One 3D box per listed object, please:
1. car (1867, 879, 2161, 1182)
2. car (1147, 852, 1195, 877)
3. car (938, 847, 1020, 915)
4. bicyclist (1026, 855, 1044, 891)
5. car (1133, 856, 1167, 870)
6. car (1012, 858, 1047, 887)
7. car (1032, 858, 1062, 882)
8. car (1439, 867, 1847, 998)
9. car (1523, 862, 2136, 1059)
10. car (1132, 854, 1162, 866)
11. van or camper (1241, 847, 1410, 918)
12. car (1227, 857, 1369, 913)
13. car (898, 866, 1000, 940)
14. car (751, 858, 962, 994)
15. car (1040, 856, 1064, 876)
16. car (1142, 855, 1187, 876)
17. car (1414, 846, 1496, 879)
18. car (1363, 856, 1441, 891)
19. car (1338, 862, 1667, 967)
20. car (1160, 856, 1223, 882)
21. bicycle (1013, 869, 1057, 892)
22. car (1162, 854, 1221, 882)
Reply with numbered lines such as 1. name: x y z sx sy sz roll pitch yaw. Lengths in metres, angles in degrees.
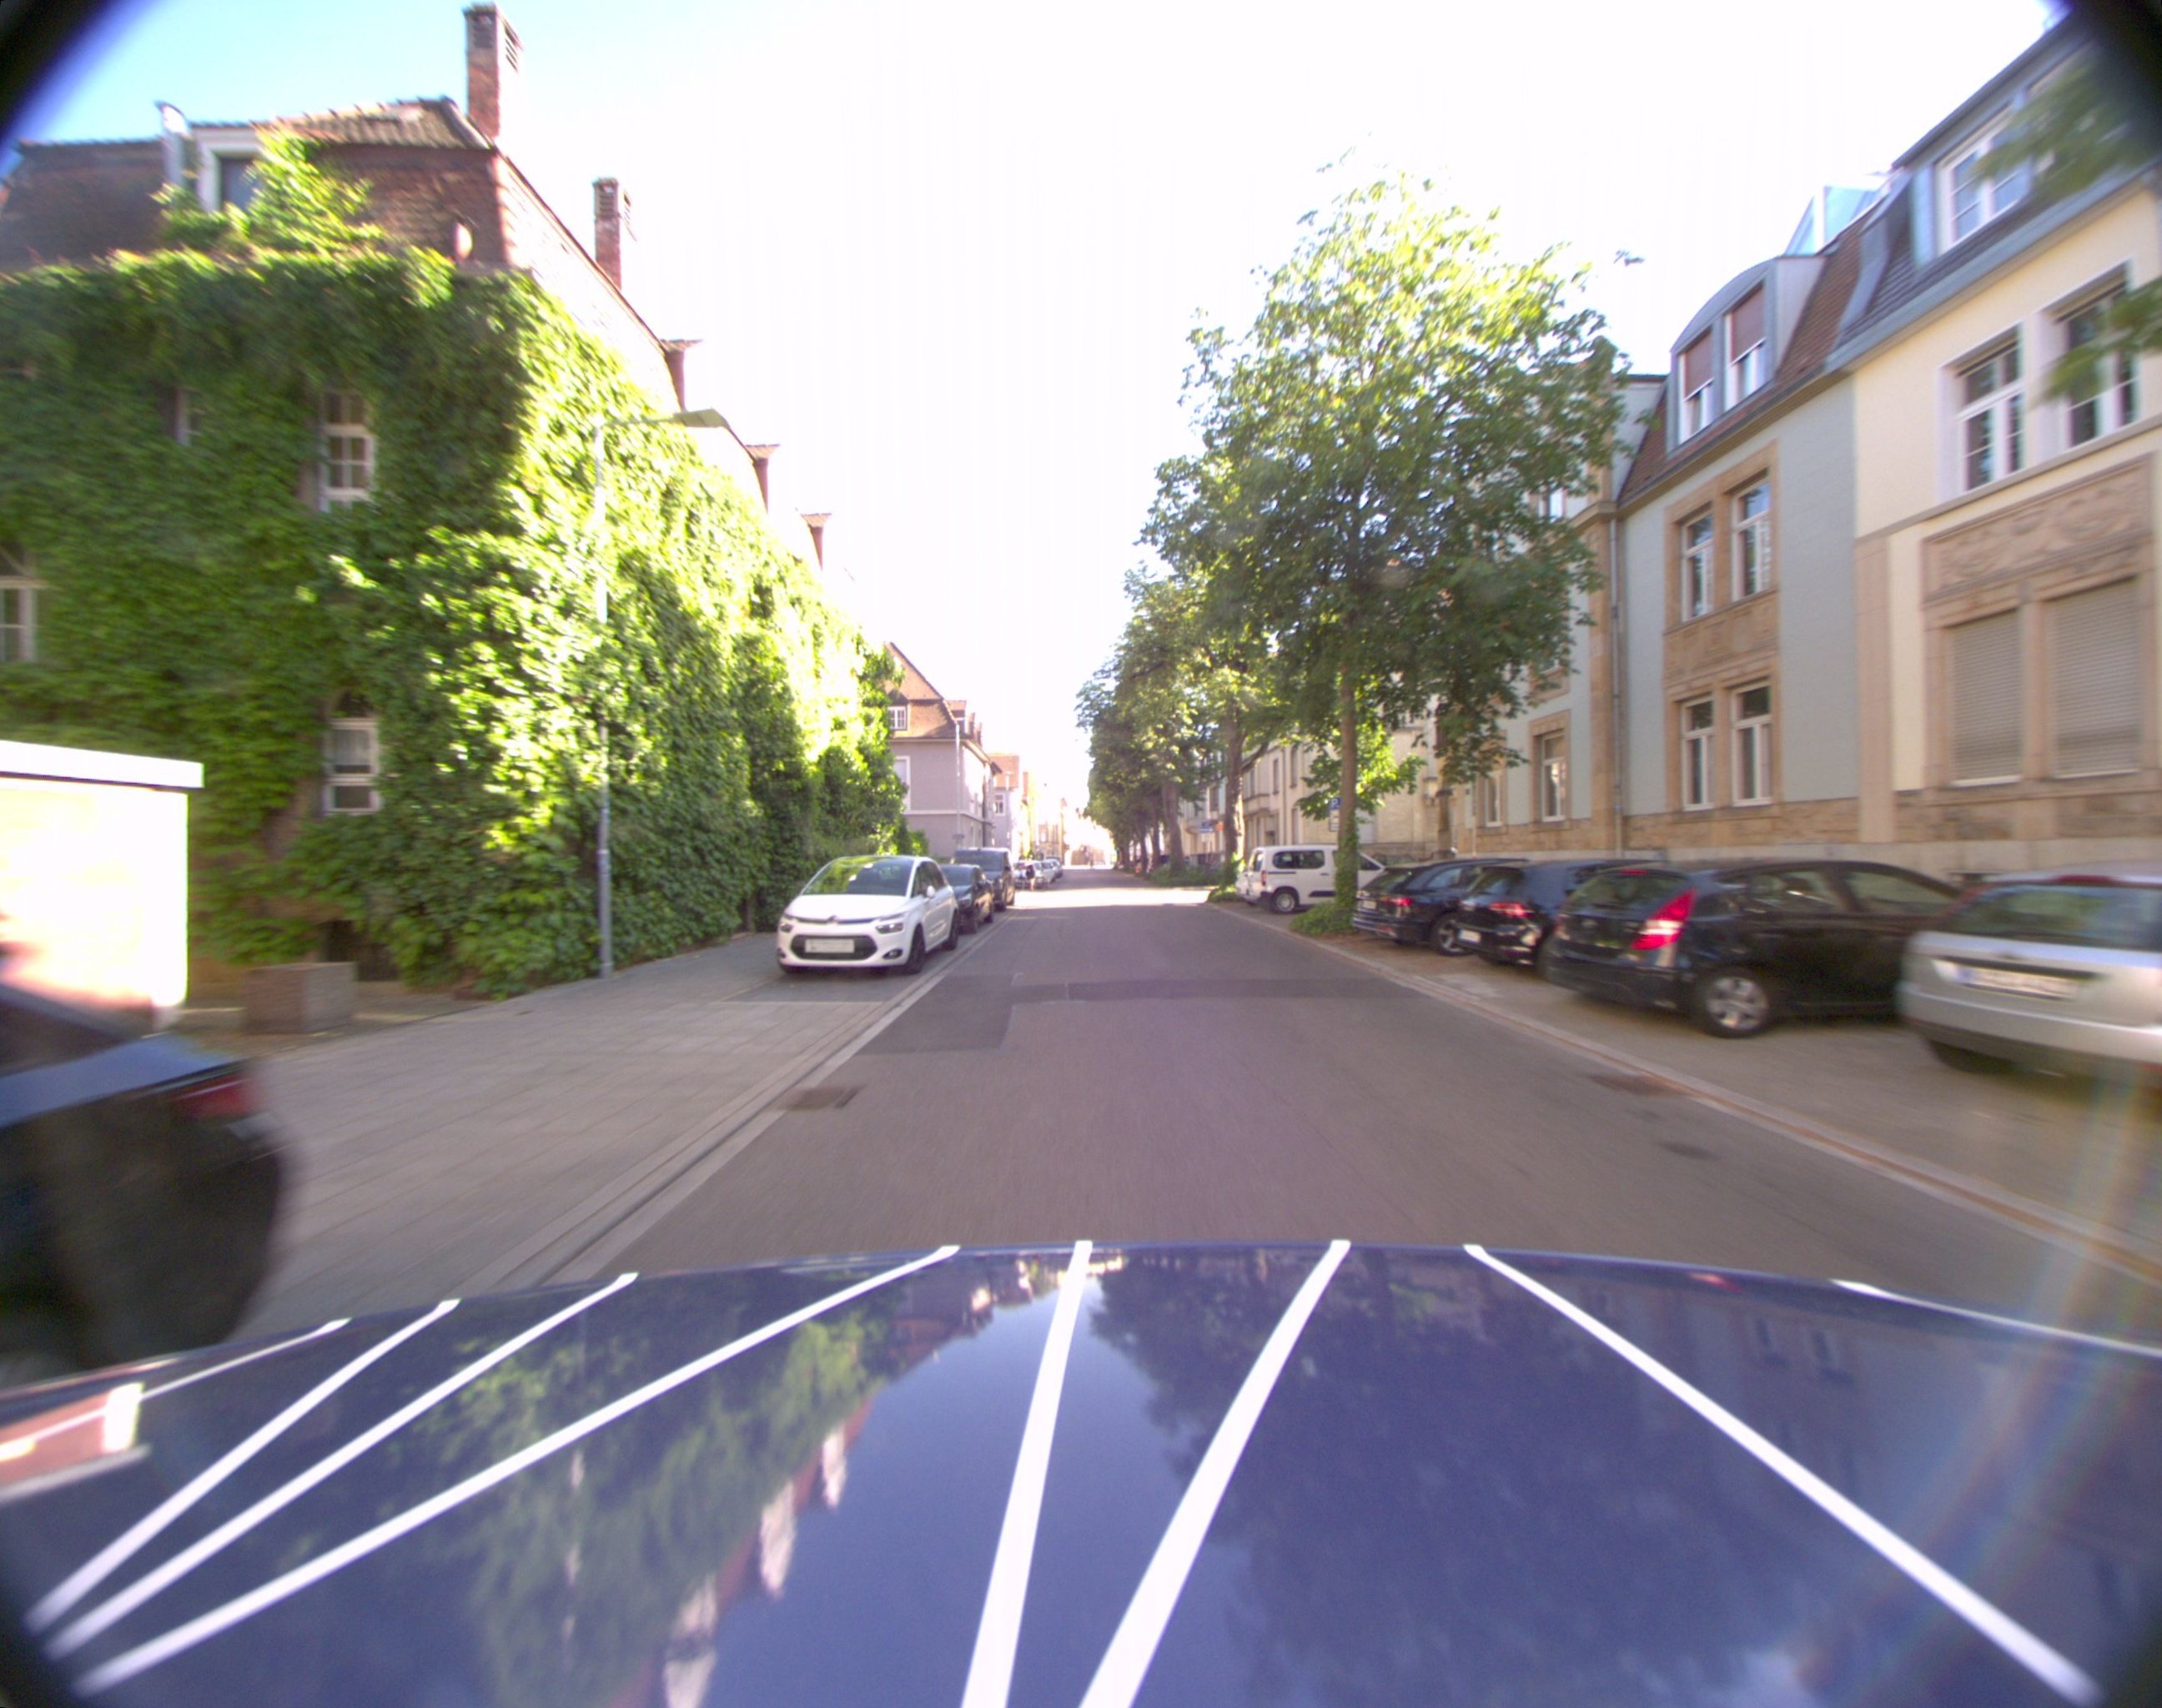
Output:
1. car: 7.110 0.896 4.286 3.558 1.440 1.695 0 0 1
2. car: 7.076 0.791 60.002 3.496 1.882 1.821 -1 0 0
3. car: -3.075 0.750 23.797 1.857 1.898 4.851 -1 0 0
4. bicyclist: -2.059 0.843 34.091 0.737 1.562 0.755 -1 0 -1
5. car: 7.391 0.968 81.479 3.496 1.420 1.542 0 0 -1
6. car: -2.882 1.036 43.258 1.814 1.546 4.105 -1 0 -2
7. car: -2.390 1.118 54.812 1.822 1.529 4.160 -3 0 1
8. car: 6.653 0.888 9.302 3.757 1.422 1.646 0 0 0
9. car: 6.356 0.852 6.818 3.735 1.456 1.715 -1 -1 1
10. car: 8.069 0.719 93.373 3.496 1.420 1.542 0 0 -1
11. van or camper: 6.520 0.756 20.569 3.954 1.762 1.809 -1 -1 0
12. car: 6.471 0.903 22.913 3.734 1.507 1.722 -1 0 -1
13. car: -2.875 1.017 17.320 1.641 1.413 4.008 0 0 0
14. car: -3.082 0.899 11.434 1.872 1.635 4.199 0 0 1
15. car: -2.512 1.029 66.281 1.822 1.634 4.160 -3 0 1
16. car: 6.802 0.918 61.997 3.496 1.681 1.682 -1 0 0
17. car: 17.735 0.364 36.278 1.869 1.433 4.281 -1 1 1
18. car: 15.102 0.868 36.014 1.869 1.545 4.418 0 0 1
19. car: 6.375 0.884 11.824 4.150 1.392 1.710 -2 0 0
20. car: 7.317 0.993 50.472 3.995 1.424 1.804 -3 1 7
21. bicycle: -2.045 1.194 34.098 1.920 0.981 0.595 -1 0 0
22. car: 8.019 0.995 55.210 3.993 1.752 2.002 -3 1 14
